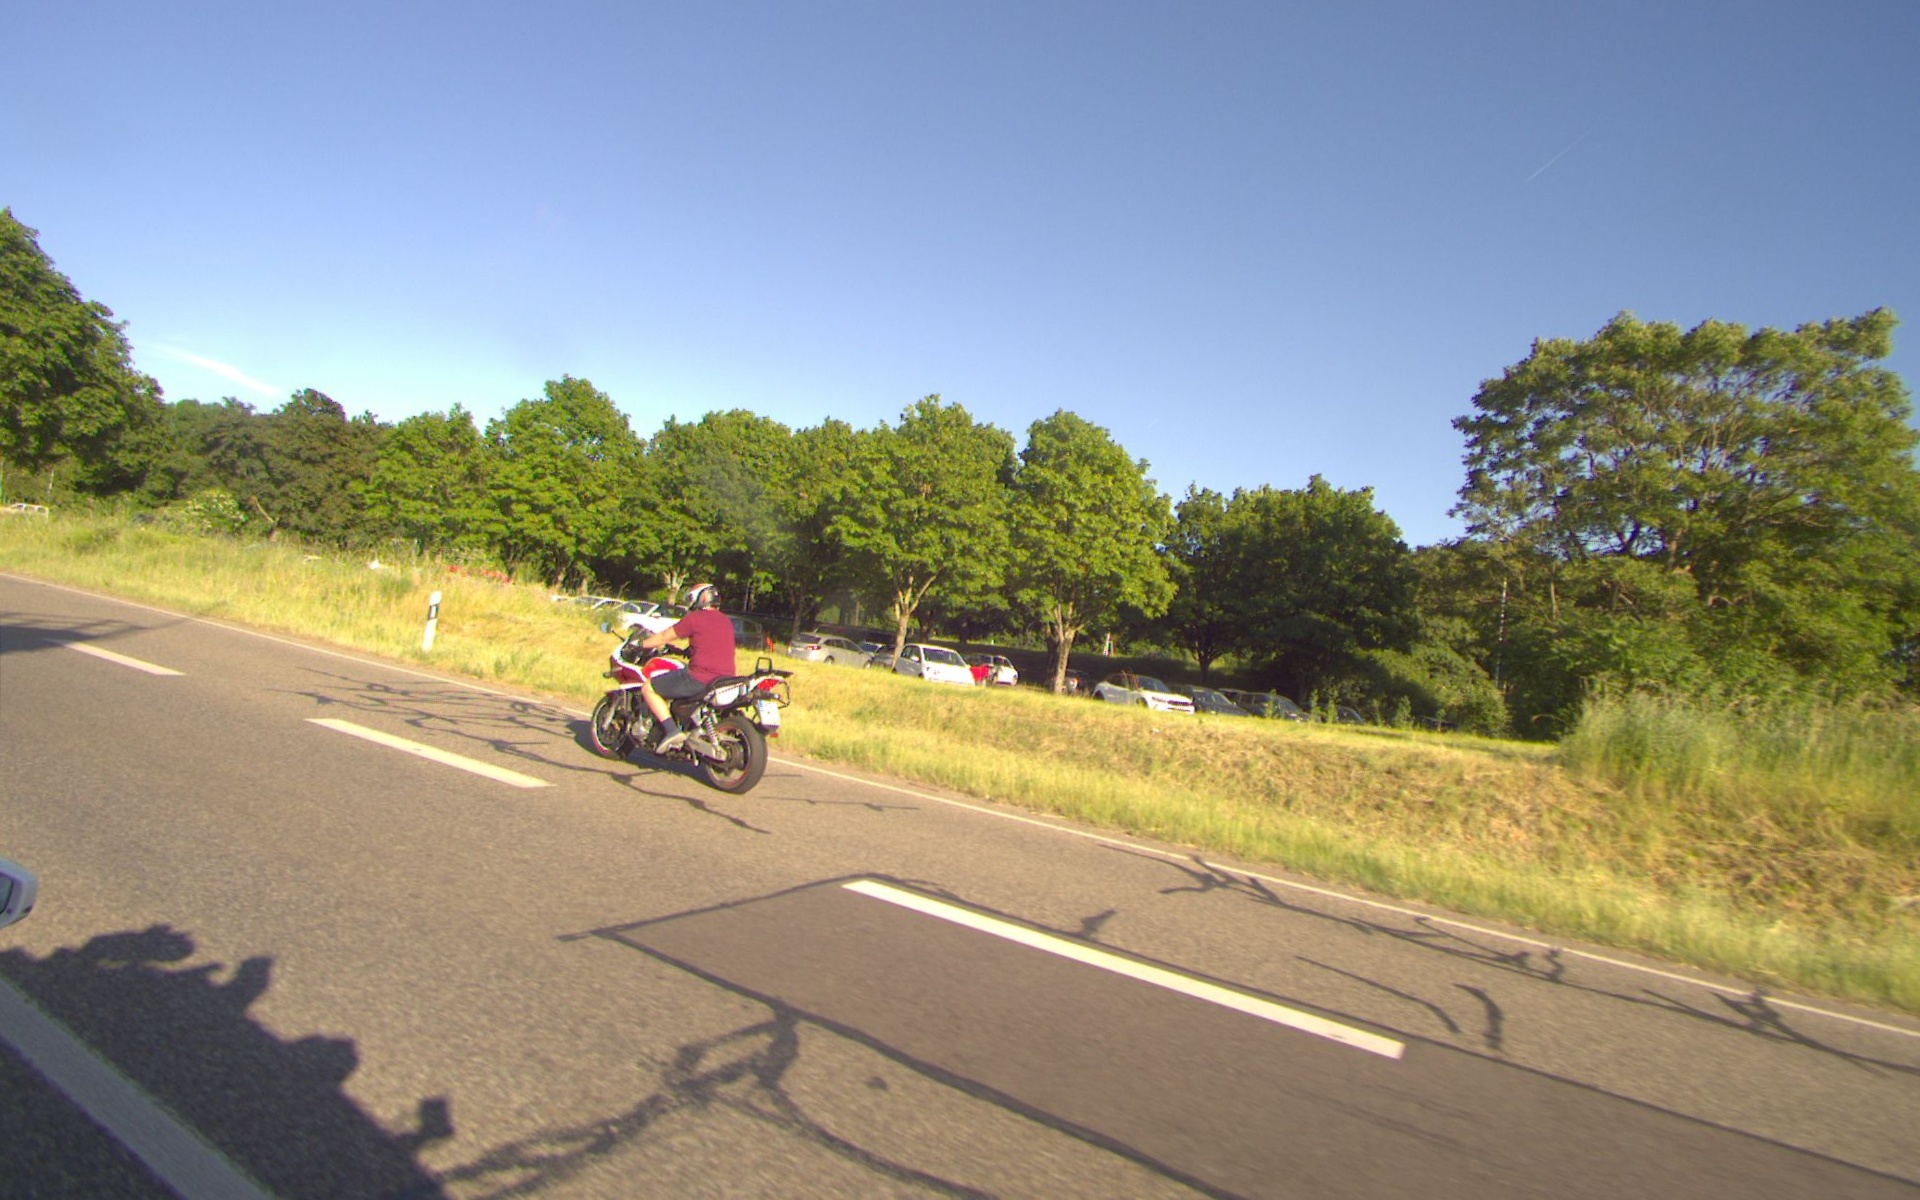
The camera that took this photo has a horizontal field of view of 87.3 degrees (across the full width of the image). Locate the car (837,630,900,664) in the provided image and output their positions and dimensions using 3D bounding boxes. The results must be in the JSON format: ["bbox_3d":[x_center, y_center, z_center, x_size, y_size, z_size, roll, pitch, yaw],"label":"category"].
[{"bbox_3d":[-5.684,2.952,62.881,1.757,1.576,4.229,5,-5,28],"label":"car"}]

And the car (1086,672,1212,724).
[{"bbox_3d":[6.091,3.163,32.868,1.975,1.320,4.092,7,-5,-24],"label":"car"}]

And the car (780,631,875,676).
[{"bbox_3d":[-5.456,2.260,41.954,1.891,1.439,4.125,3,-5,26],"label":"car"}]

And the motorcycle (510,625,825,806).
[{"bbox_3d":[-2.565,0.929,8.628,2.789,1.081,0.818,6,-2,31],"label":"motorcycle"}]

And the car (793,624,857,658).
[{"bbox_3d":[-8.581,2.660,64.434,1.911,1.796,4.601,5,-3,22],"label":"car"}]

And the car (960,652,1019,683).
[{"bbox_3d":[1.749,3.939,58.152,1.834,1.439,4.125,3,-5,26],"label":"car"}]

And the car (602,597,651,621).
[{"bbox_3d":[-30.257,0.831,91.395,3.942,1.594,1.904,9,-2,-17],"label":"car"}]

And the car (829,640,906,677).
[{"bbox_3d":[-4.522,2.919,49.703,1.834,1.439,4.125,3,-5,26],"label":"car"}]

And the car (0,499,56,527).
[{"bbox_3d":[-81.780,-7.634,87.639,3.941,1.845,1.897,8,-2,-17],"label":"car"}]

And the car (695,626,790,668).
[{"bbox_3d":[-9.783,2.161,45.515,1.988,1.439,4.125,3,-5,26],"label":"car"}]

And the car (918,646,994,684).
[{"bbox_3d":[-0.135,3.074,47.121,1.834,1.439,4.125,3,-5,26],"label":"car"}]

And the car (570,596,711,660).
[{"bbox_3d":[-10.177,0.959,32.394,1.891,1.575,4.125,3,-5,26],"label":"car"}]

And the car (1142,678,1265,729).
[{"bbox_3d":[8.159,3.469,34.040,1.900,1.320,3.982,7,-5,-25],"label":"car"}]

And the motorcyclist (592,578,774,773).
[{"bbox_3d":[-2.342,0.629,8.528,1.076,1.464,0.818,6,-2,33],"label":"motorcyclist"}]

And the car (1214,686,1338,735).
[{"bbox_3d":[11.010,3.846,35.317,1.900,1.320,3.982,7,-5,-25],"label":"car"}]

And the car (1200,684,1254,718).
[{"bbox_3d":[13.601,5.137,51.067,1.834,1.439,4.125,3,-5,26],"label":"car"}]

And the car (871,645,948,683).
[{"bbox_3d":[-2.354,3.107,48.207,1.834,1.439,4.125,3,-5,26],"label":"car"}]

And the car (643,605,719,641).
[{"bbox_3d":[-19.559,1.640,70.719,1.923,1.886,5.206,6,-3,28],"label":"car"}]

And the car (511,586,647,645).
[{"bbox_3d":[-12.660,0.572,33.651,1.891,1.475,3.946,3,-5,26],"label":"car"}]

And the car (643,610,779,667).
[{"bbox_3d":[-7.617,1.233,31.128,1.891,1.320,4.002,3,-5,26],"label":"car"}]

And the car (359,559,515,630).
[{"bbox_3d":[-19.533,-0.146,37.844,1.991,2.044,4.807,3,-5,26],"label":"car"}]

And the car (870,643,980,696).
[{"bbox_3d":[-1.134,2.056,30.177,1.964,1.320,3.986,7,-5,-22],"label":"car"}]

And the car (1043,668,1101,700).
[{"bbox_3d":[6.253,4.653,55.643,1.834,1.439,4.125,3,-5,26],"label":"car"}]
